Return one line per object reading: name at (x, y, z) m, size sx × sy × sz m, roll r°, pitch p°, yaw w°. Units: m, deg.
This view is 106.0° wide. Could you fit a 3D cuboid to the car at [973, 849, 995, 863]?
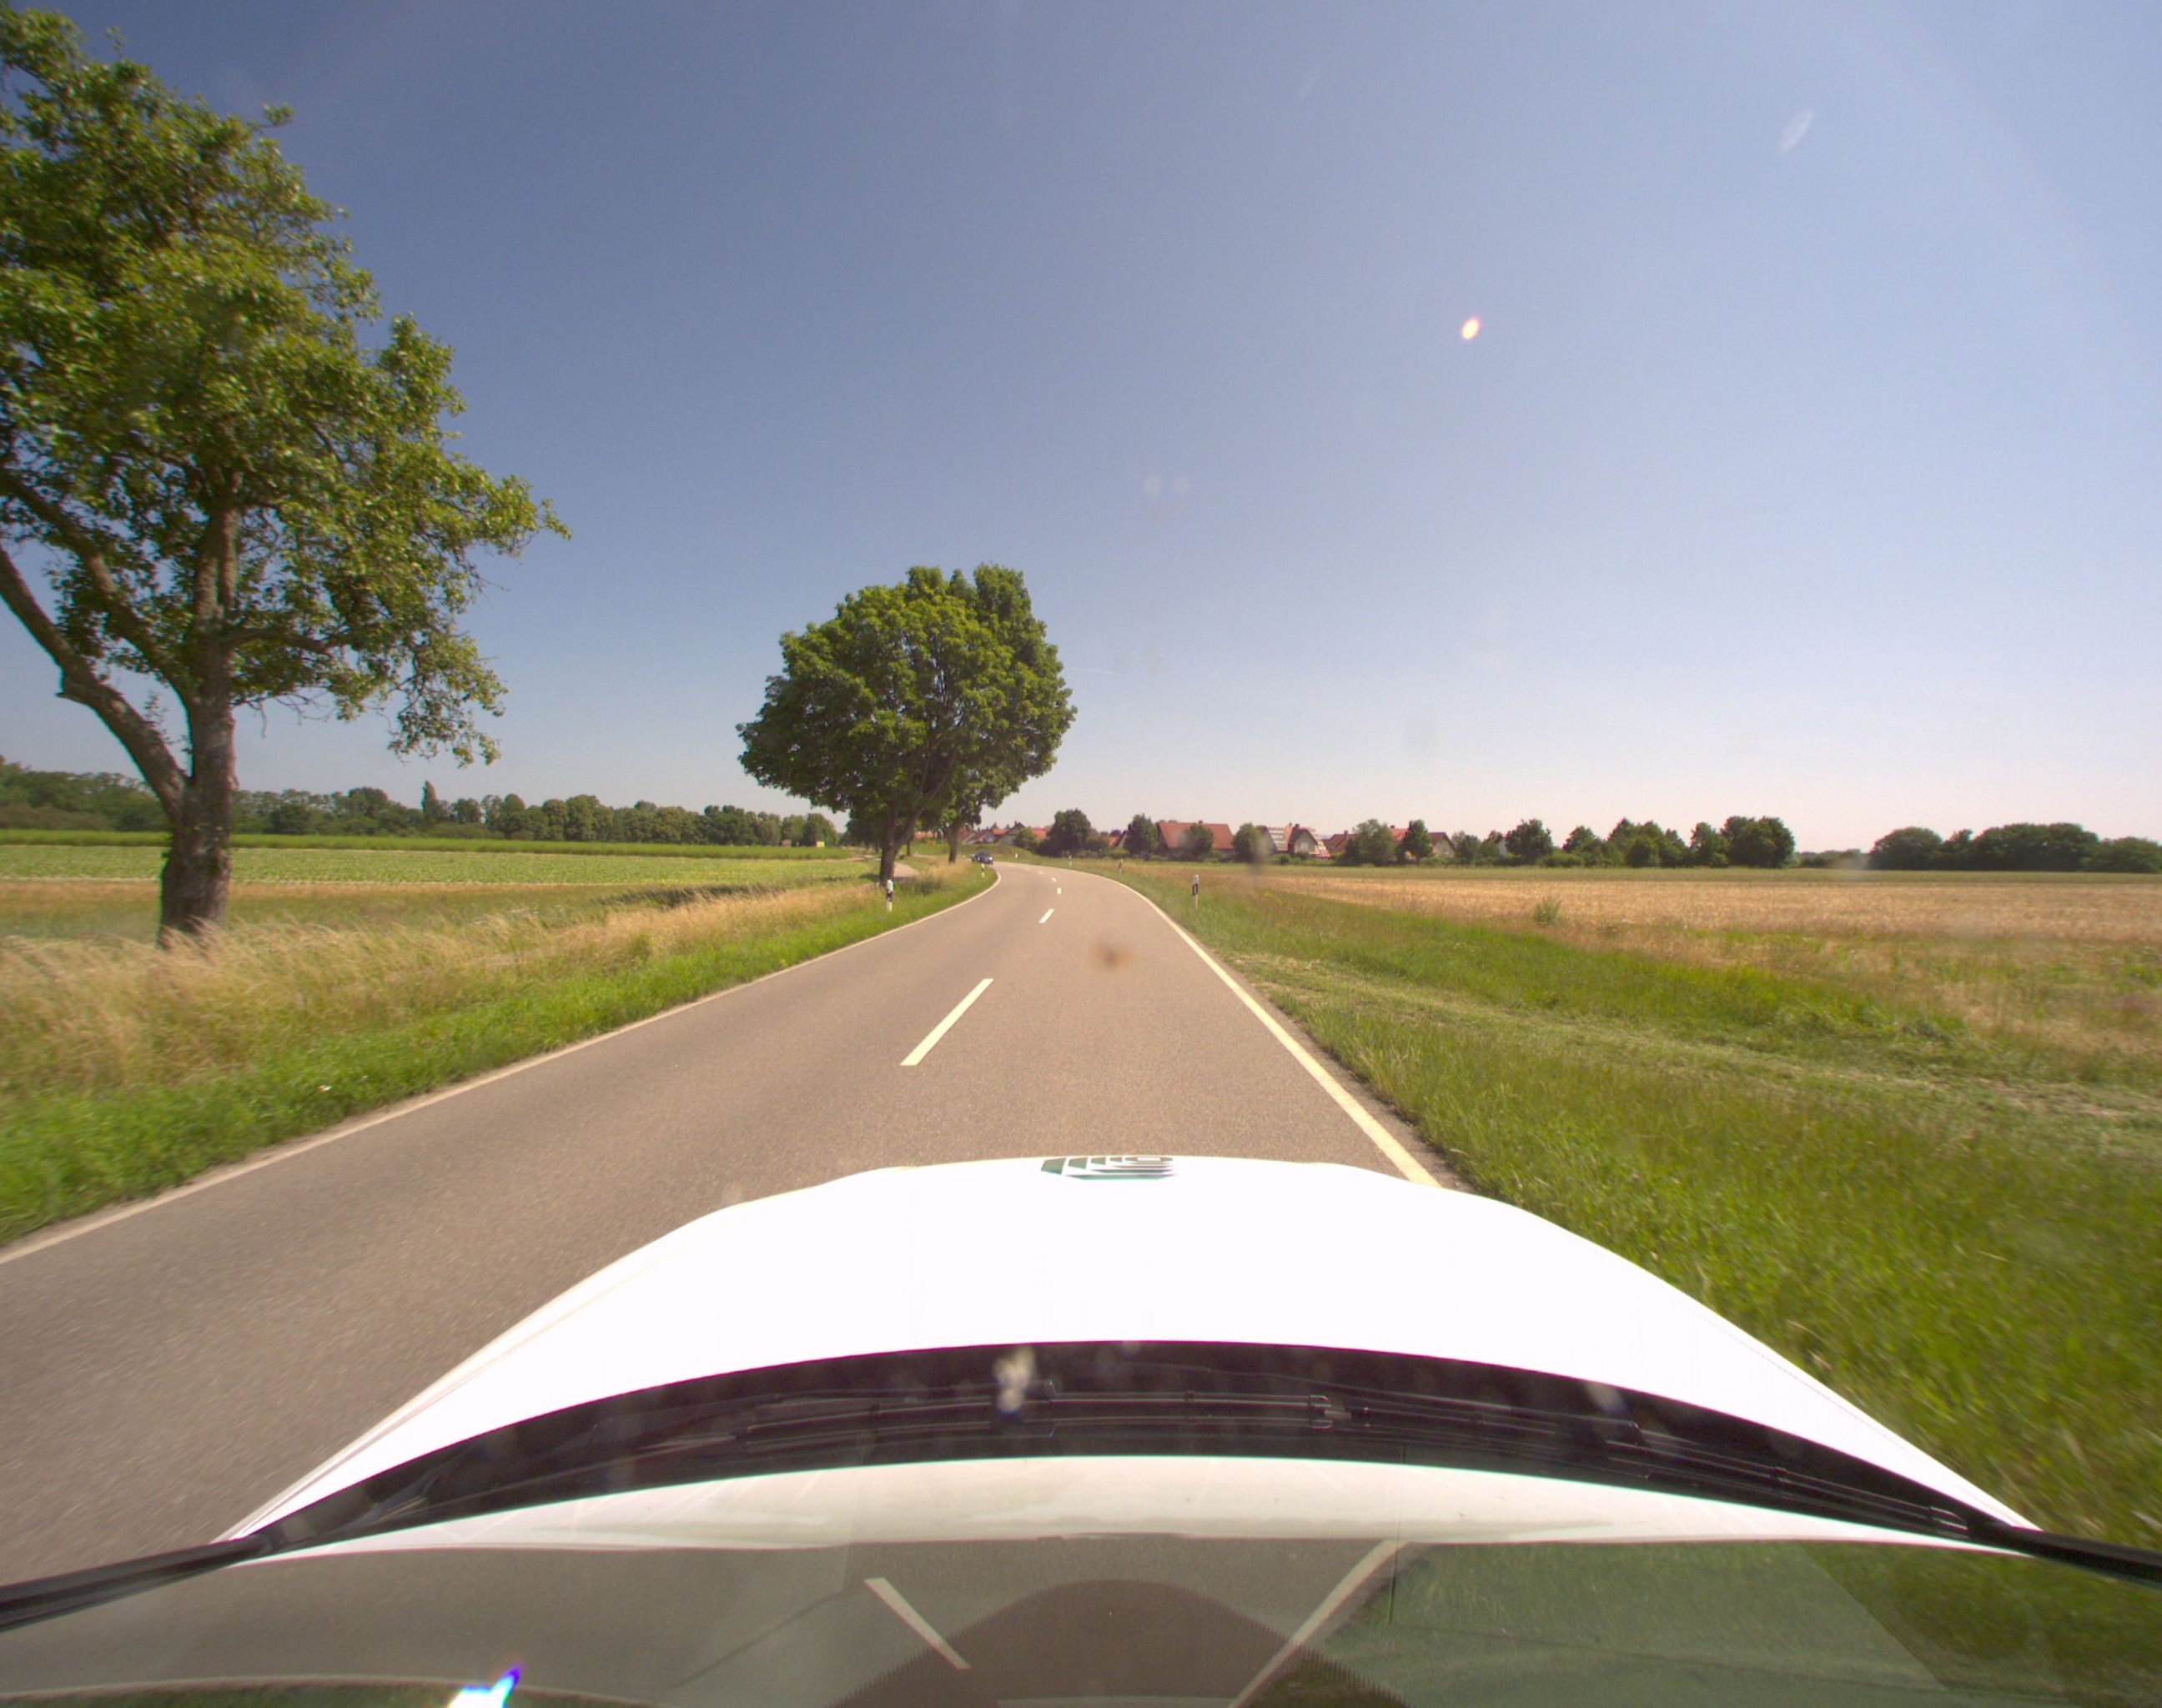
car at (-10.552, 0.204, 88.601) m, size 1.648 × 1.429 × 4.156 m, roll -2°, pitch 0°, yaw -17°
